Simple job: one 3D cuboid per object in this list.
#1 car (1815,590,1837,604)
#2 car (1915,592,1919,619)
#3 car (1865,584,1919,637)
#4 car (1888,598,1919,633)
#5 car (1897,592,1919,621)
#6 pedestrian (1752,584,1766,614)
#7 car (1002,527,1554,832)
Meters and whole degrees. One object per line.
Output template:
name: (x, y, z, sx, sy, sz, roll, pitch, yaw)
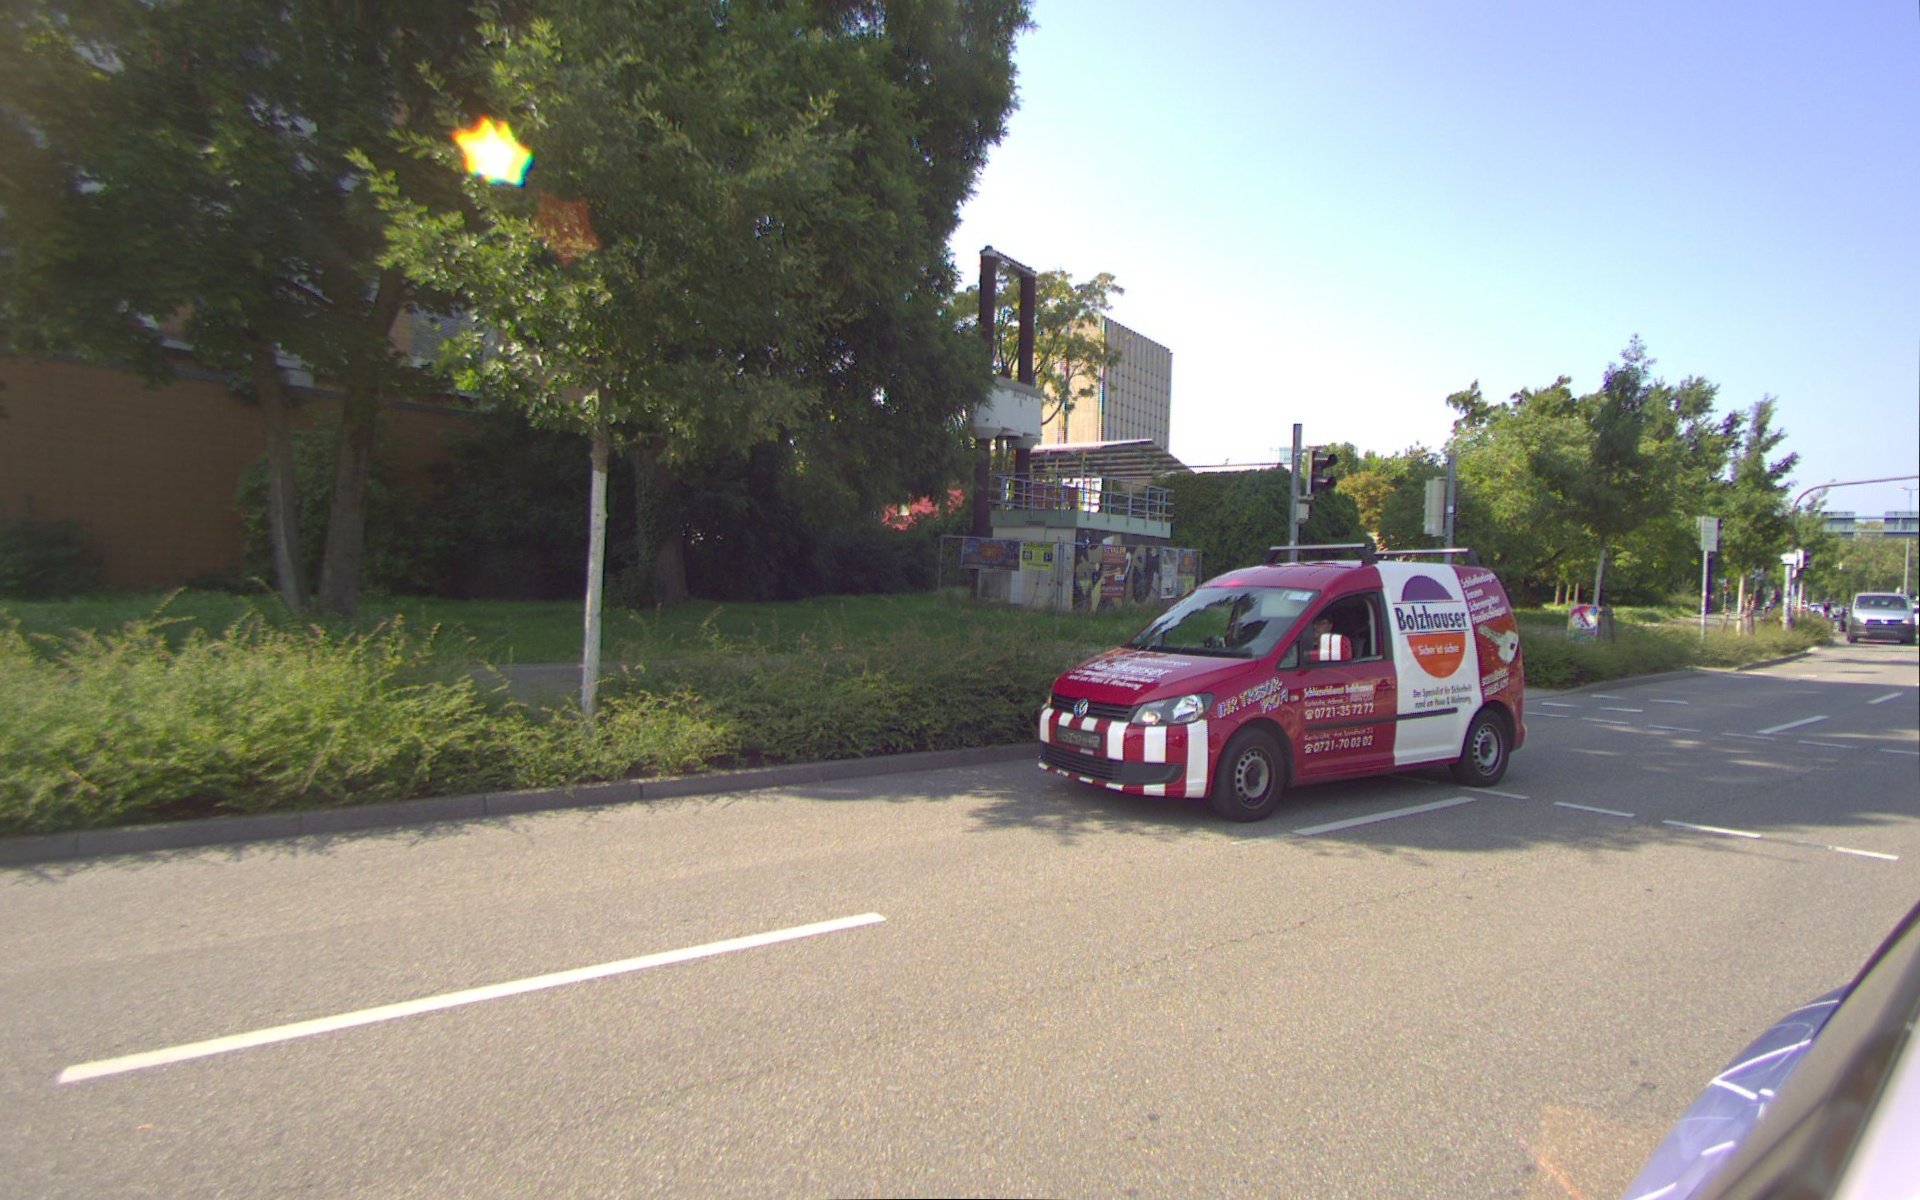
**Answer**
car: (108.776, -0.365, 127.138, 1.823, 1.705, 3.945, 3, 2, 38)
car: (53.796, 0.350, 55.222, 1.922, 1.524, 4.238, 3, 2, 37)
car: (35.596, 0.356, 38.336, 1.840, 1.899, 4.896, -1, 0, 43)
car: (44.322, 0.724, 46.804, 1.994, 1.524, 4.366, 3, 2, 43)
car: (57.603, 0.419, 60.423, 1.922, 1.680, 4.238, 3, 2, 37)
pedestrian: (50.291, -0.042, 63.714, 0.620, 1.868, 0.632, 3, 2, 39)
car: (2.573, 0.470, 7.922, 4.192, 1.842, 1.740, 0, 1, -30)
